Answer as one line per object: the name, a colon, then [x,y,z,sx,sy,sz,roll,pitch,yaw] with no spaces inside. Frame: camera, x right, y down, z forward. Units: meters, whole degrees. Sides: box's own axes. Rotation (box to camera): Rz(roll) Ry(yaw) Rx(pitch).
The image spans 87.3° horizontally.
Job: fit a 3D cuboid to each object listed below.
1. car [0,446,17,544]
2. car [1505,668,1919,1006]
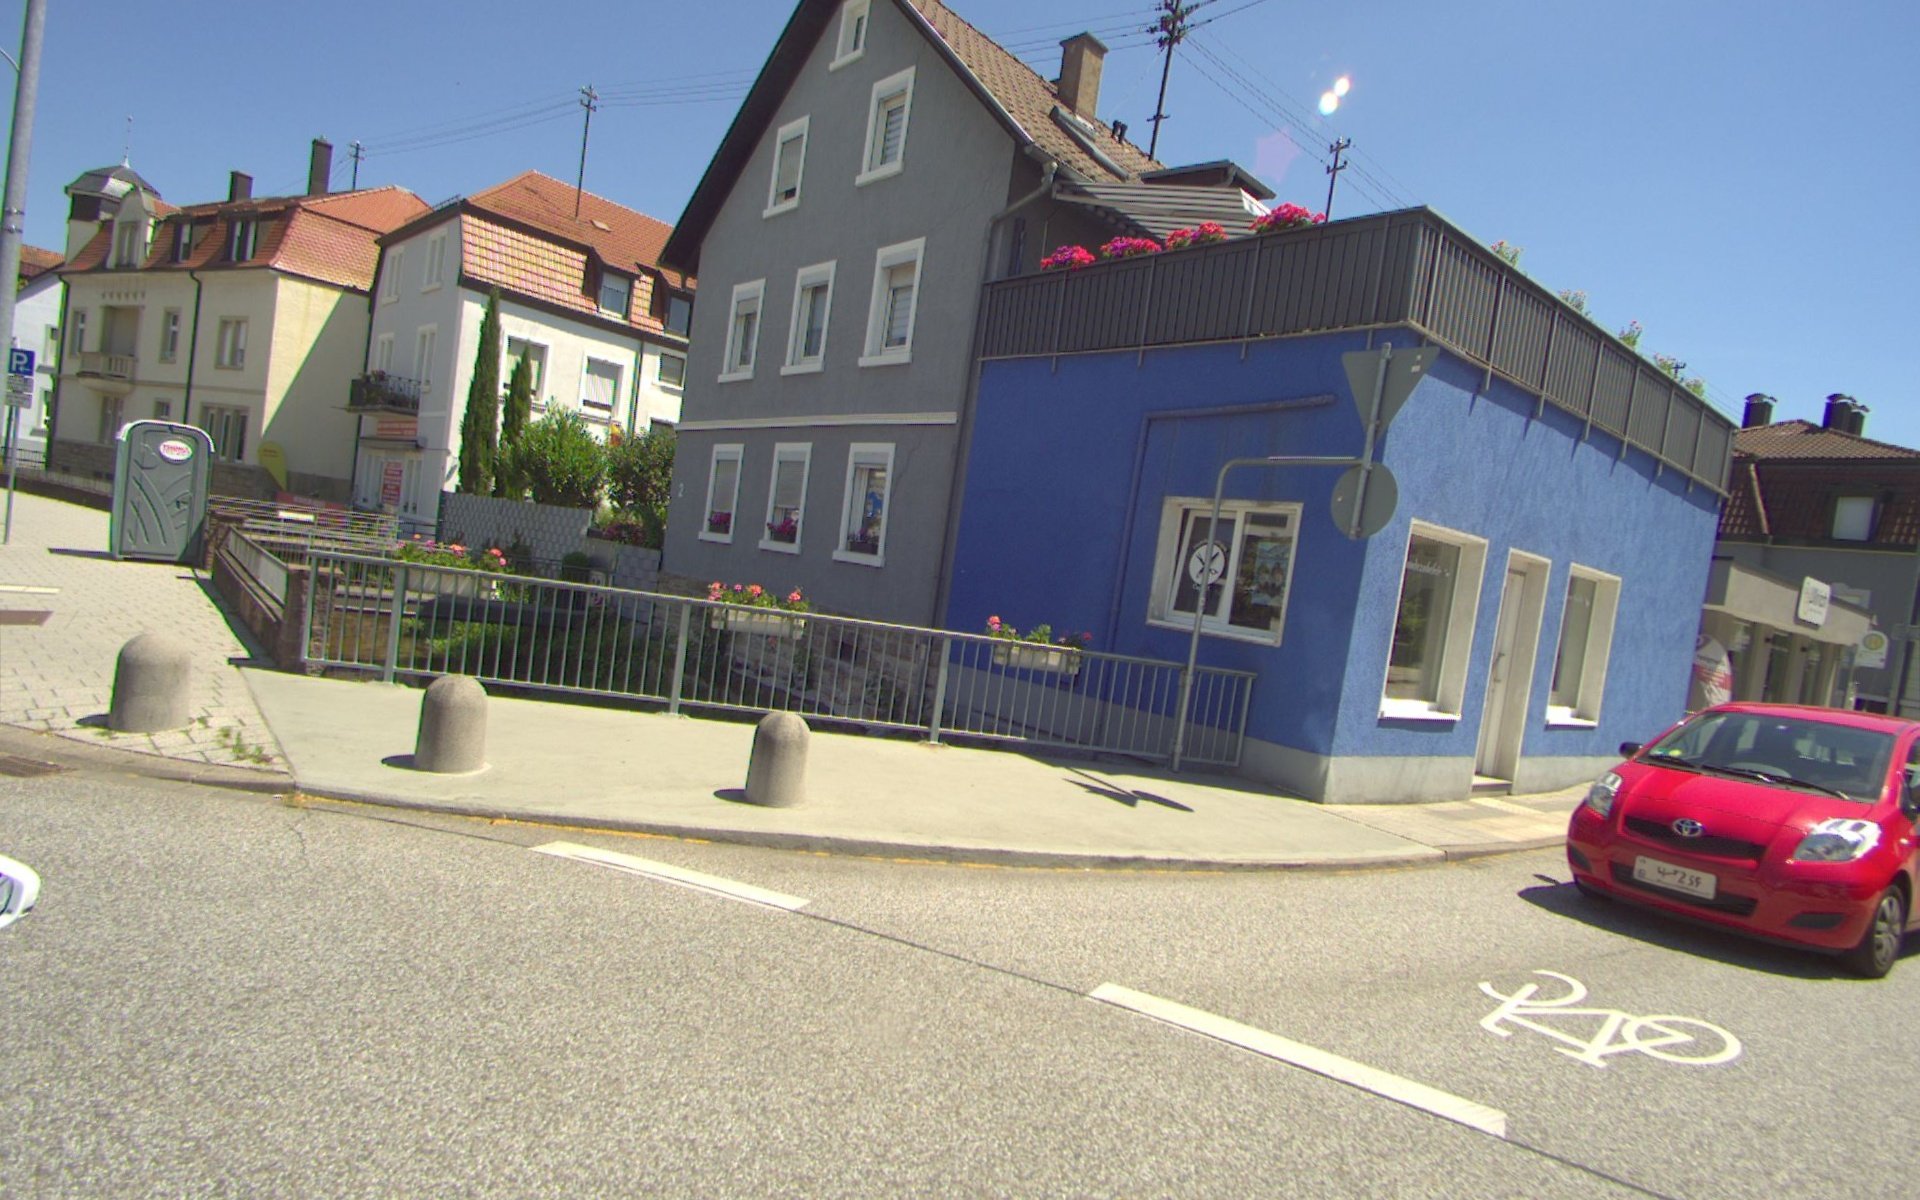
car: [-18.164,-1.996,17.469,4.222,1.608,1.988,9,7,38]
car: [5.813,1.474,7.022,3.962,1.551,1.818,7,-1,-34]
